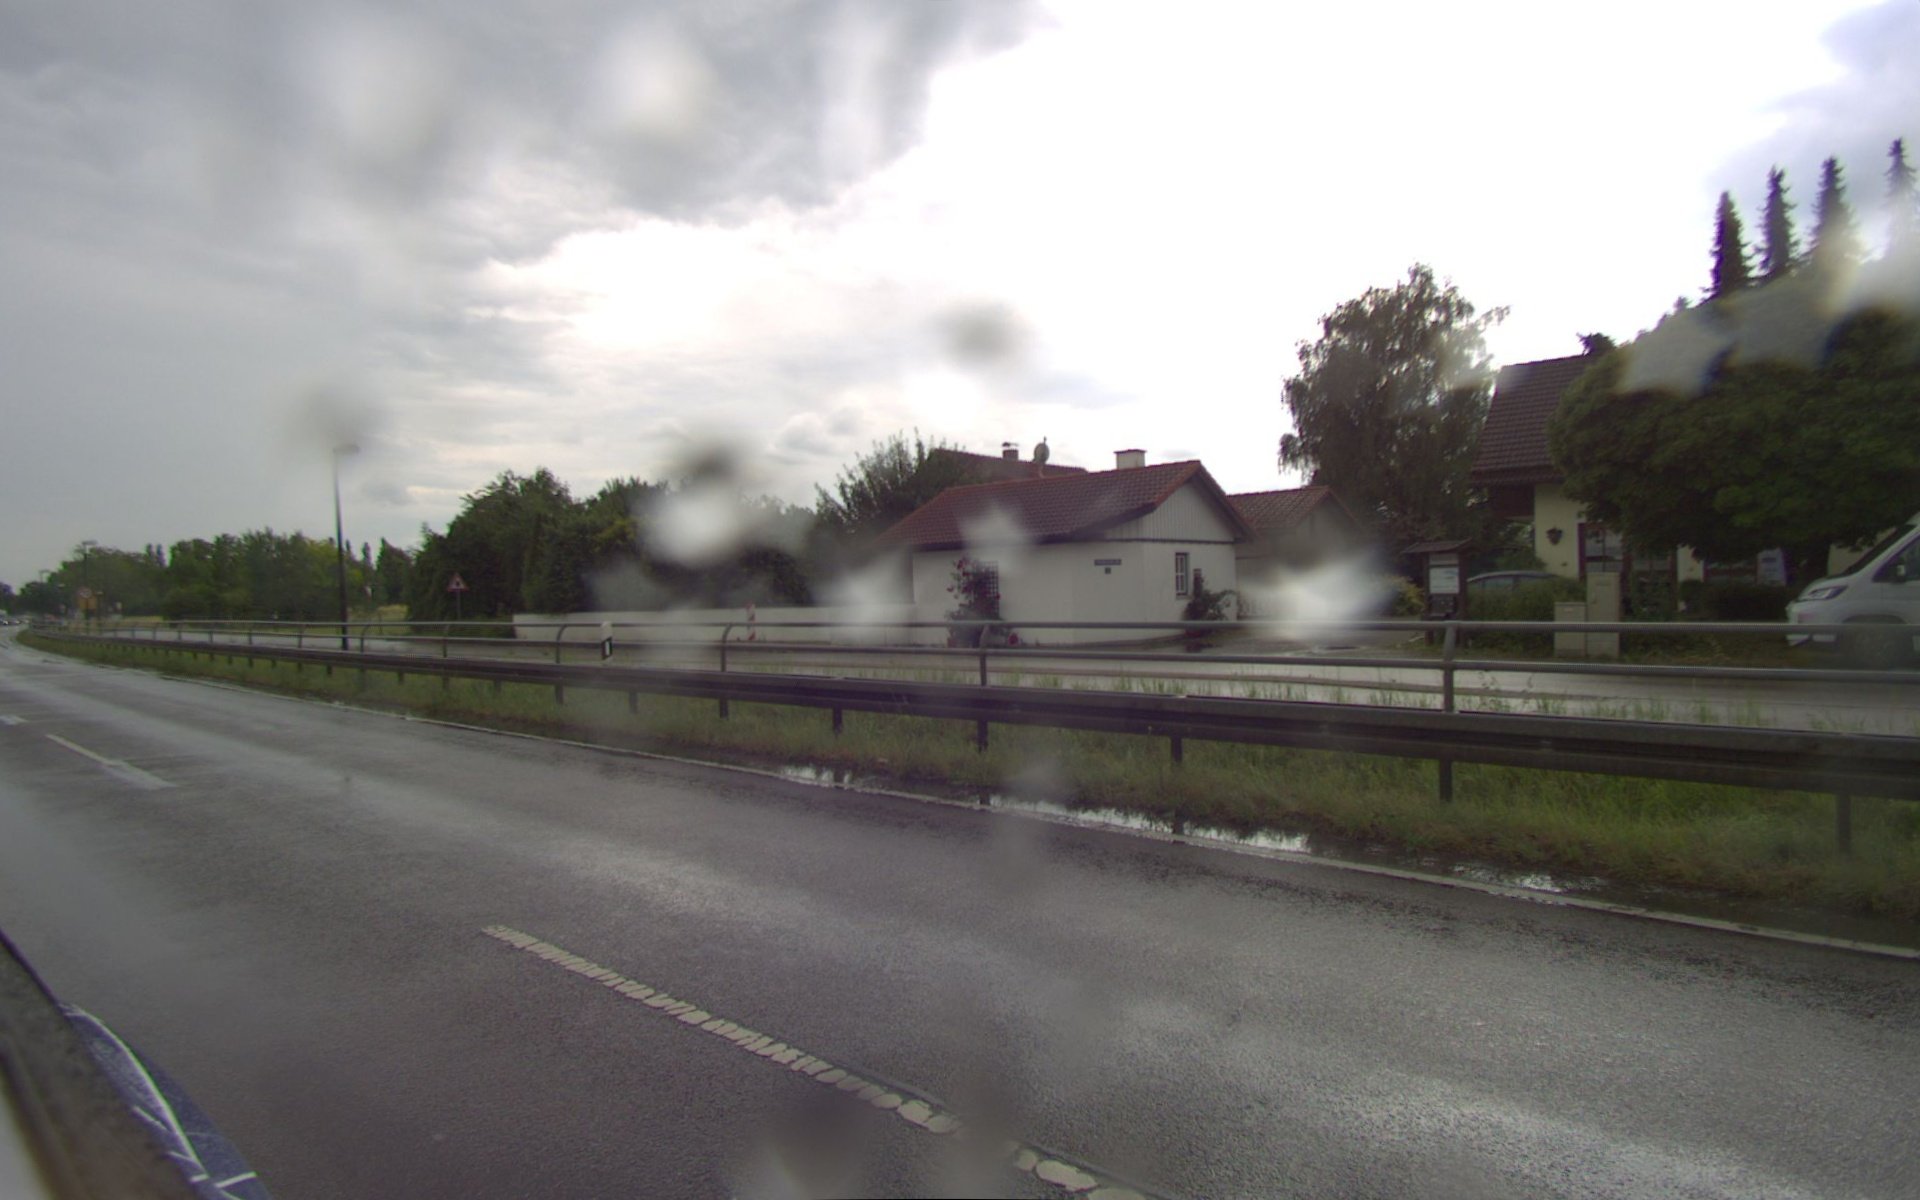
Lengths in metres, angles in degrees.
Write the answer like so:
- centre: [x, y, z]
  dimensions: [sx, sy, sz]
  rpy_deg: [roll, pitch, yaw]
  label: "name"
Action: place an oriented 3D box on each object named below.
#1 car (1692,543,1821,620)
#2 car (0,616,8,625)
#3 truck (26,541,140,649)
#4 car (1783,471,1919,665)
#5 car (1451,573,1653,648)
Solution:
- centre: [18.440, -0.440, 23.610]
  dimensions: [2.019, 1.567, 3.684]
  rpy_deg: [-4, 0, 34]
  label: "car"
- centre: [-178.146, 3.815, 187.729]
  dimensions: [4.024, 1.746, 1.789]
  rpy_deg: [-2, 1, 41]
  label: "car"
- centre: [-44.373, -0.229, 51.139]
  dimensions: [7.780, 5.071, 3.215]
  rpy_deg: [-1, 1, 42]
  label: "truck"
- centre: [14.784, -0.499, 13.337]
  dimensions: [6.012, 2.600, 2.215]
  rpy_deg: [-2, 1, 39]
  label: "car"
- centre: [11.777, 0.204, 20.232]
  dimensions: [3.268, 1.366, 1.434]
  rpy_deg: [-1, 1, 41]
  label: "car"
